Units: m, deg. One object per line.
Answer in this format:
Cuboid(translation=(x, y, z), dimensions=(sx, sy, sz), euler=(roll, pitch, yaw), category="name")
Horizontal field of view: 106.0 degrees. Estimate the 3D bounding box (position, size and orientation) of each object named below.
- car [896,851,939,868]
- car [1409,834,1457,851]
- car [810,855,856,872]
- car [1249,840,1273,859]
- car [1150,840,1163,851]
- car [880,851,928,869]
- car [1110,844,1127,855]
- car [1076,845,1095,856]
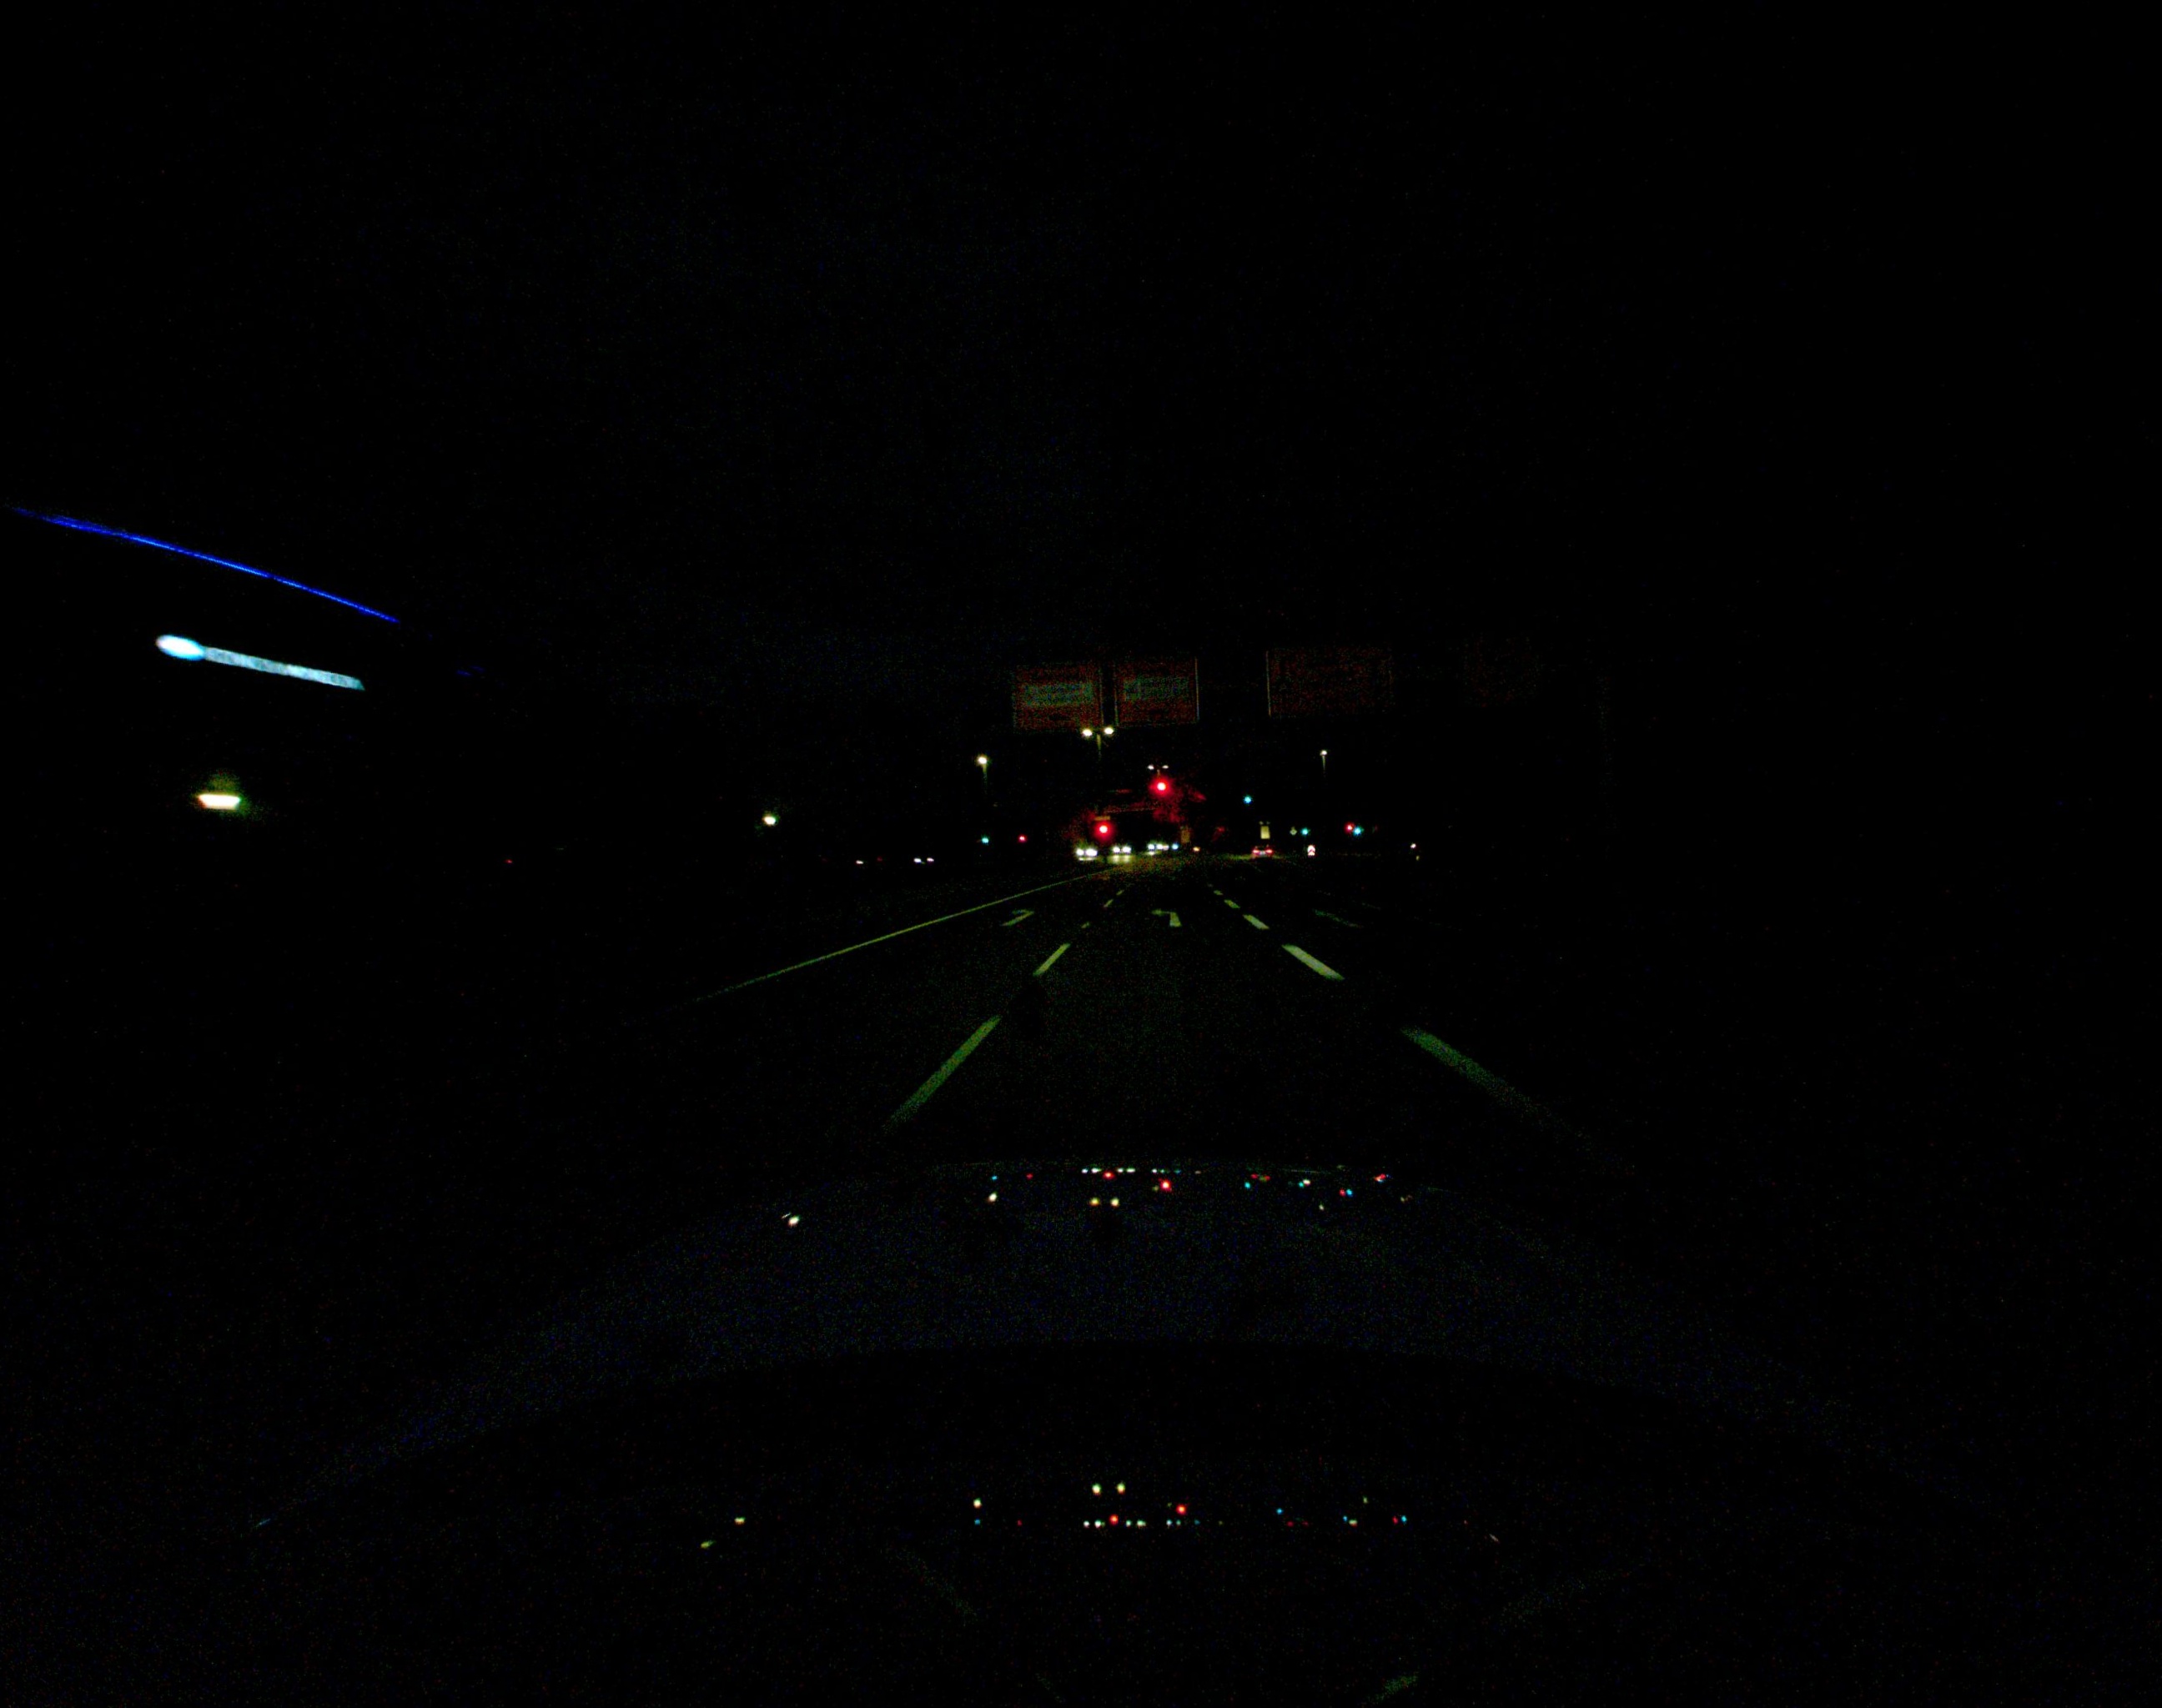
Cuboid(translation=(-16.901, 0.553, 84.241), dimensions=(4.020, 1.537, 1.732), euler=(-2, 0, 5), category="car")
Cuboid(translation=(35.956, -1.185, 83.243), dimensions=(4.053, 1.569, 2.006), euler=(-2, 1, 5), category="car")
Cuboid(translation=(-24.981, 0.981, 82.124), dimensions=(3.971, 1.473, 1.731), euler=(-2, 0, 2), category="car")
Cuboid(translation=(16.720, -0.401, 75.614), dimensions=(1.994, 1.611, 3.857), euler=(-4, 0, 11), category="car")
Cuboid(translation=(12.691, -1.461, 136.698), dimensions=(1.982, 1.698, 4.010), euler=(-2, 1, 8), category="car")
Cuboid(translation=(-17.571, 0.601, 80.939), dimensions=(4.289, 1.537, 1.733), euler=(-2, 0, 7), category="car")
Cuboid(translation=(5.525, -0.729, 119.242), dimensions=(1.982, 1.481, 4.693), euler=(-2, 1, 8), category="car")
Cuboid(translation=(0.600, -0.489, 110.192), dimensions=(1.982, 1.425, 4.543), euler=(-2, 1, 8), category="car")
